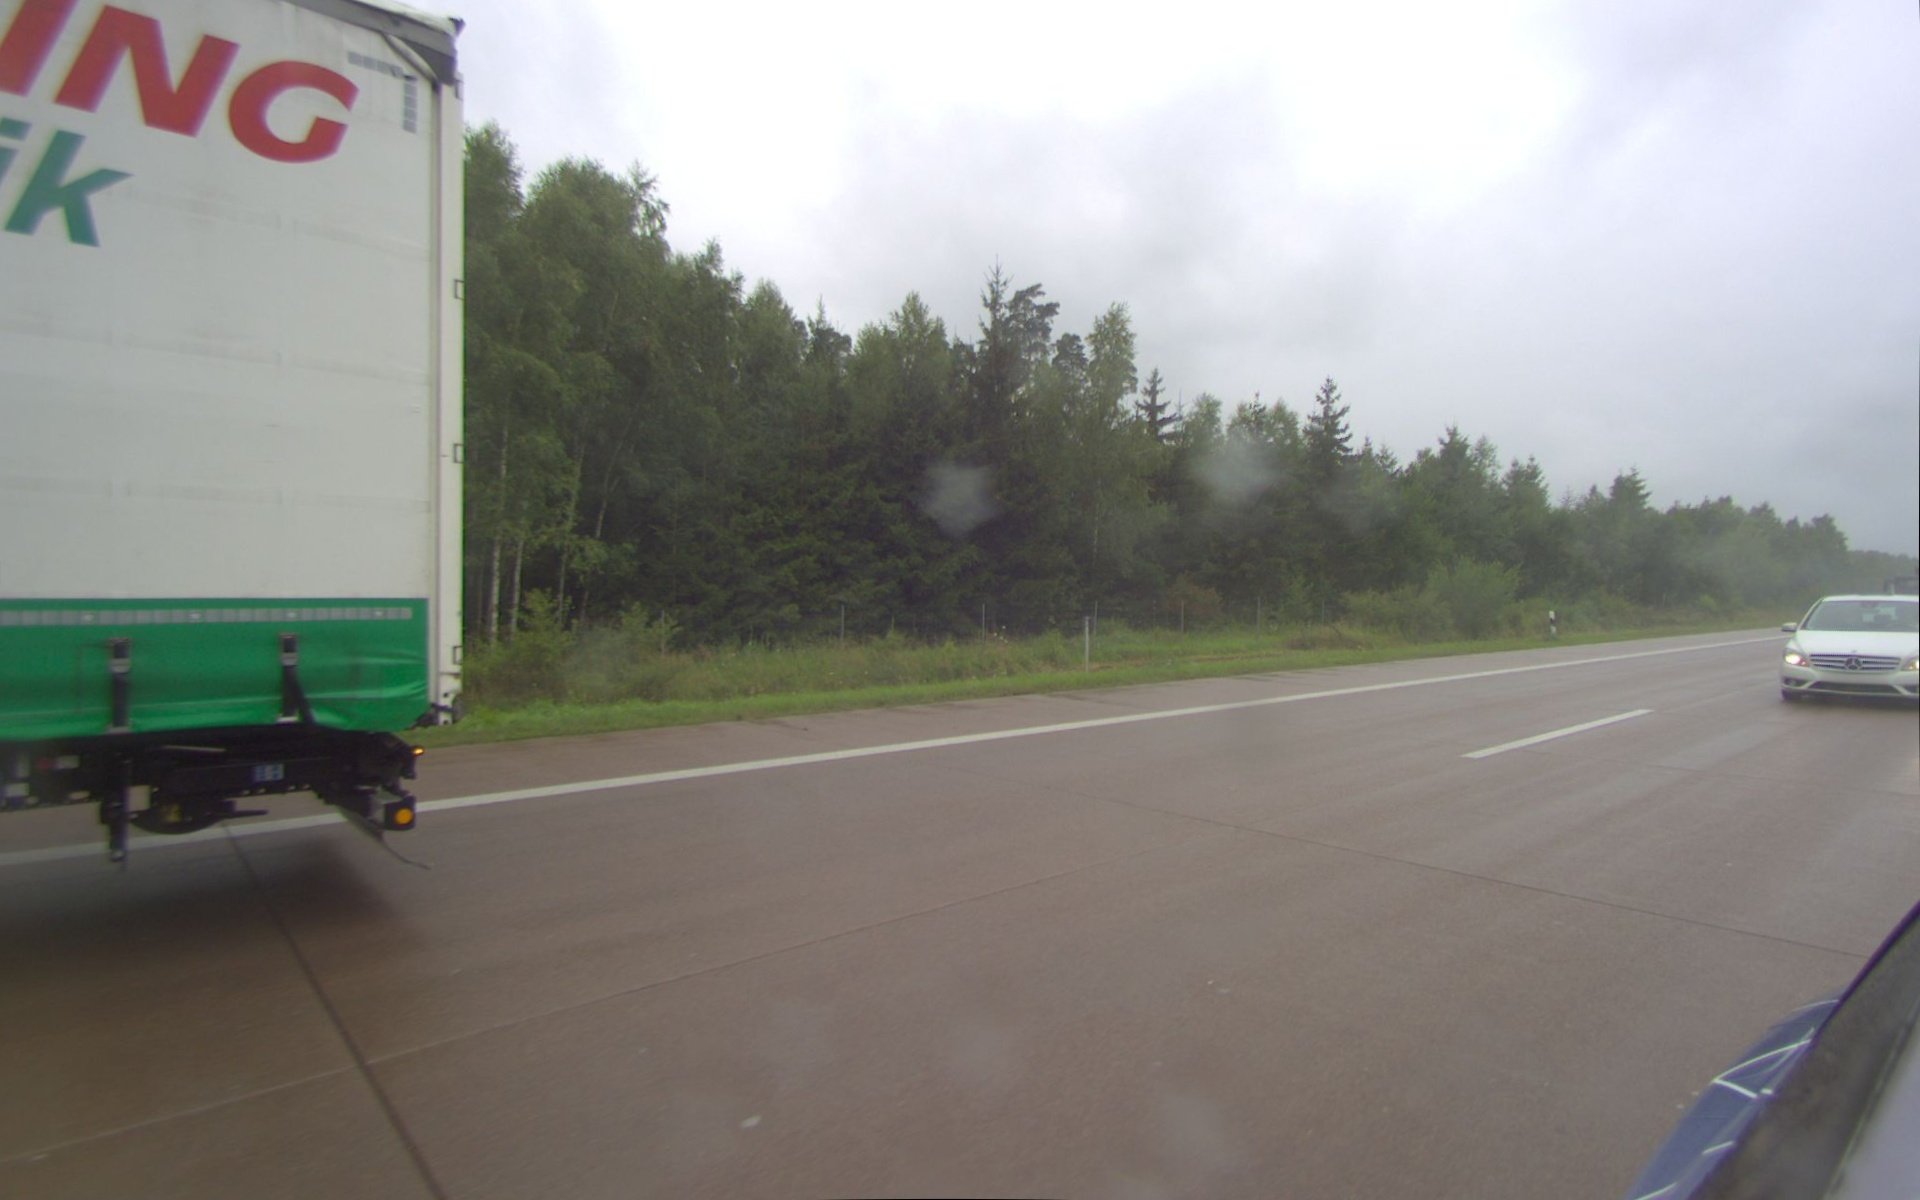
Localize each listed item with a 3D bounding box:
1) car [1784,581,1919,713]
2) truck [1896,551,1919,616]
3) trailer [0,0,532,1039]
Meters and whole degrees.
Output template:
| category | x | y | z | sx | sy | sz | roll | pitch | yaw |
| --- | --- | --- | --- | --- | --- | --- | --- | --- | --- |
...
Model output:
| category | x | y | z | sx | sy | sz | roll | pitch | yaw |
| --- | --- | --- | --- | --- | --- | --- | --- | --- | --- |
| car | 14.114 | 0.610 | 15.316 | 4.661 | 1.750 | 1.811 | 0 | 0 | -41 |
| truck | 58.636 | -0.964 | 60.443 | 7.816 | 3.777 | 3.239 | 0 | 0 | -41 |
| trailer | -7.740 | -0.684 | 1.405 | 12.906 | 4.284 | 2.857 | 0 | 2 | -42 |
